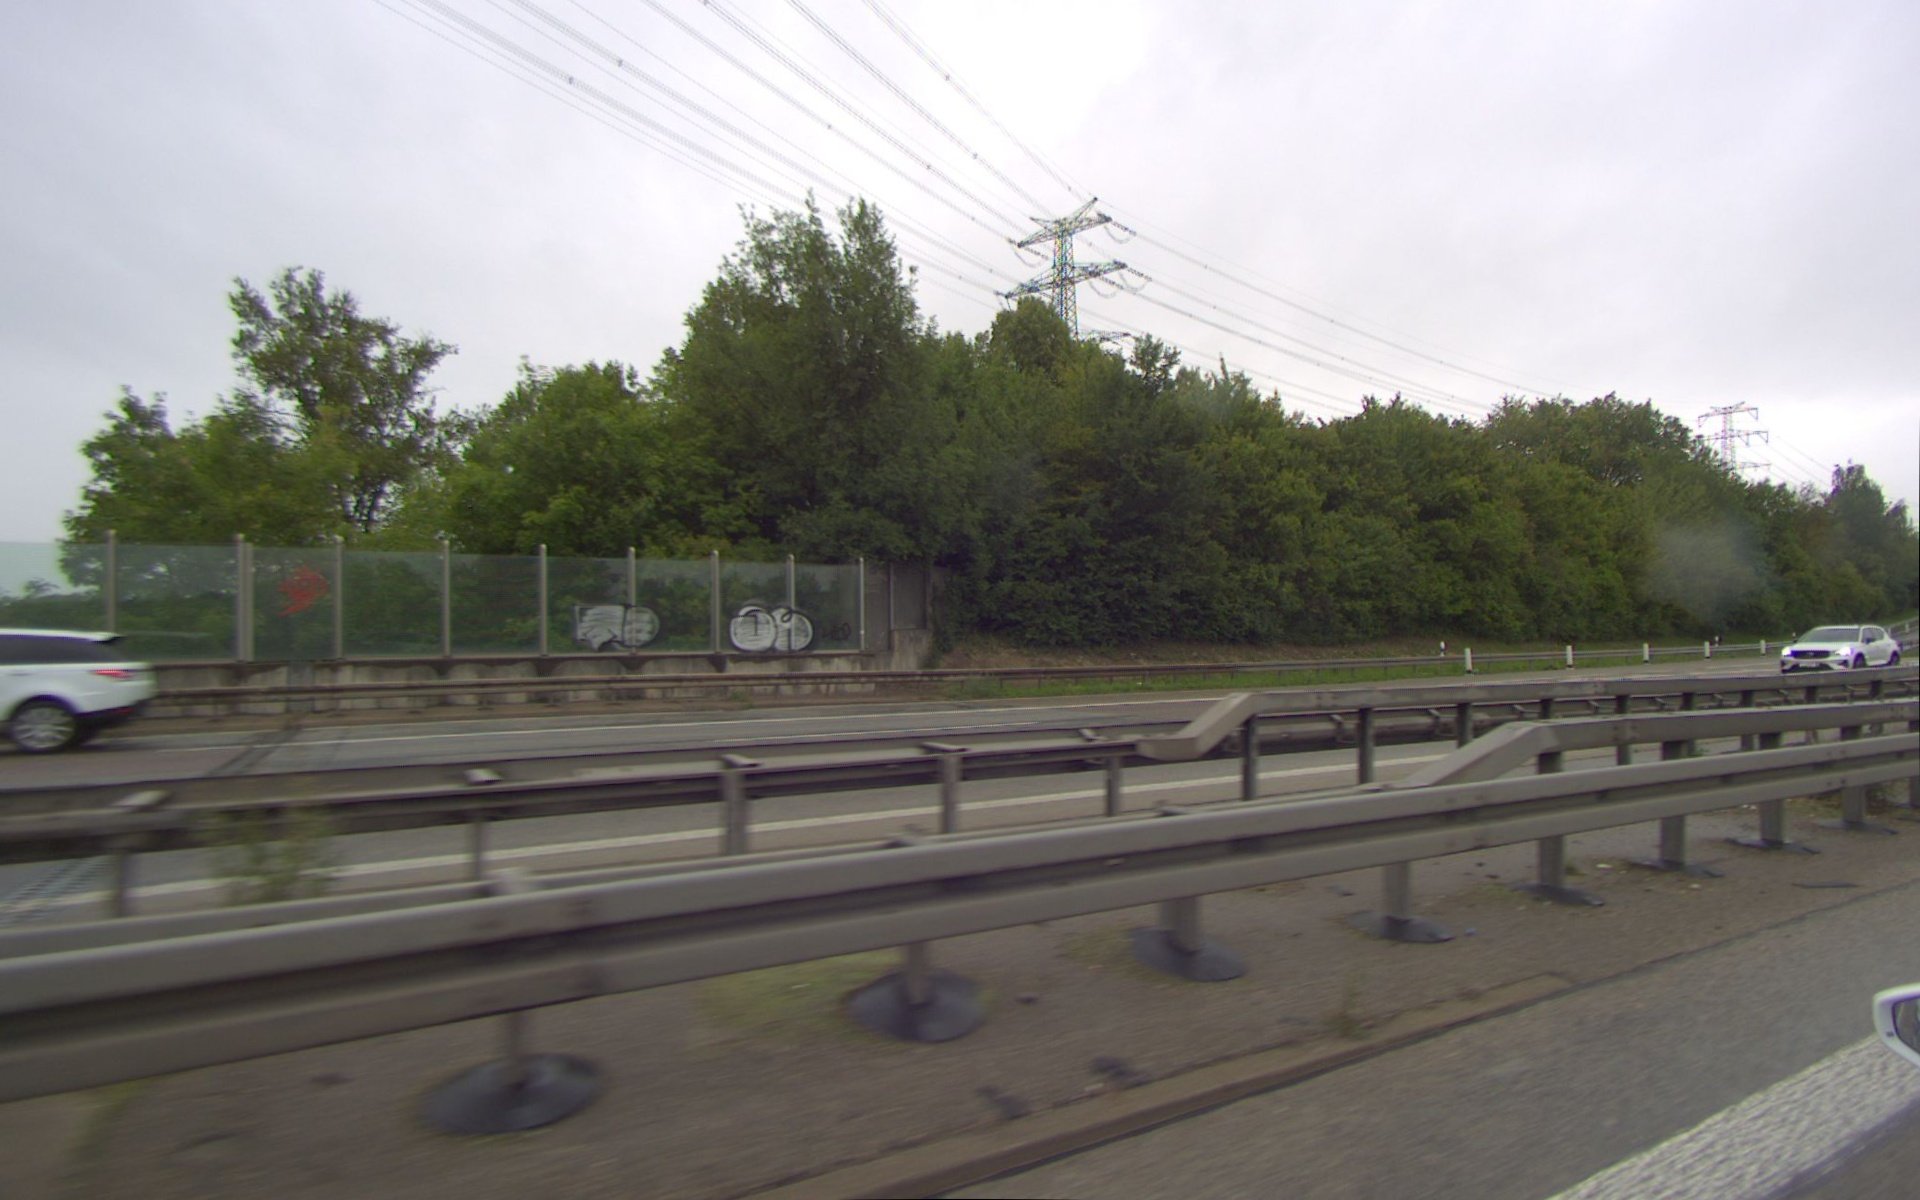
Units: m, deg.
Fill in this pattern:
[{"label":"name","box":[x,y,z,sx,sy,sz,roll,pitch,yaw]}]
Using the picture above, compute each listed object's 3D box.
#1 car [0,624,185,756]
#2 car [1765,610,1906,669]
[{"label":"car","box":[-14.455,1.289,14.564,4.860,1.843,1.939,0,-2,-31]},{"label":"car","box":[27.034,1.197,30.977,4.659,1.687,1.896,1,-2,-31]}]
